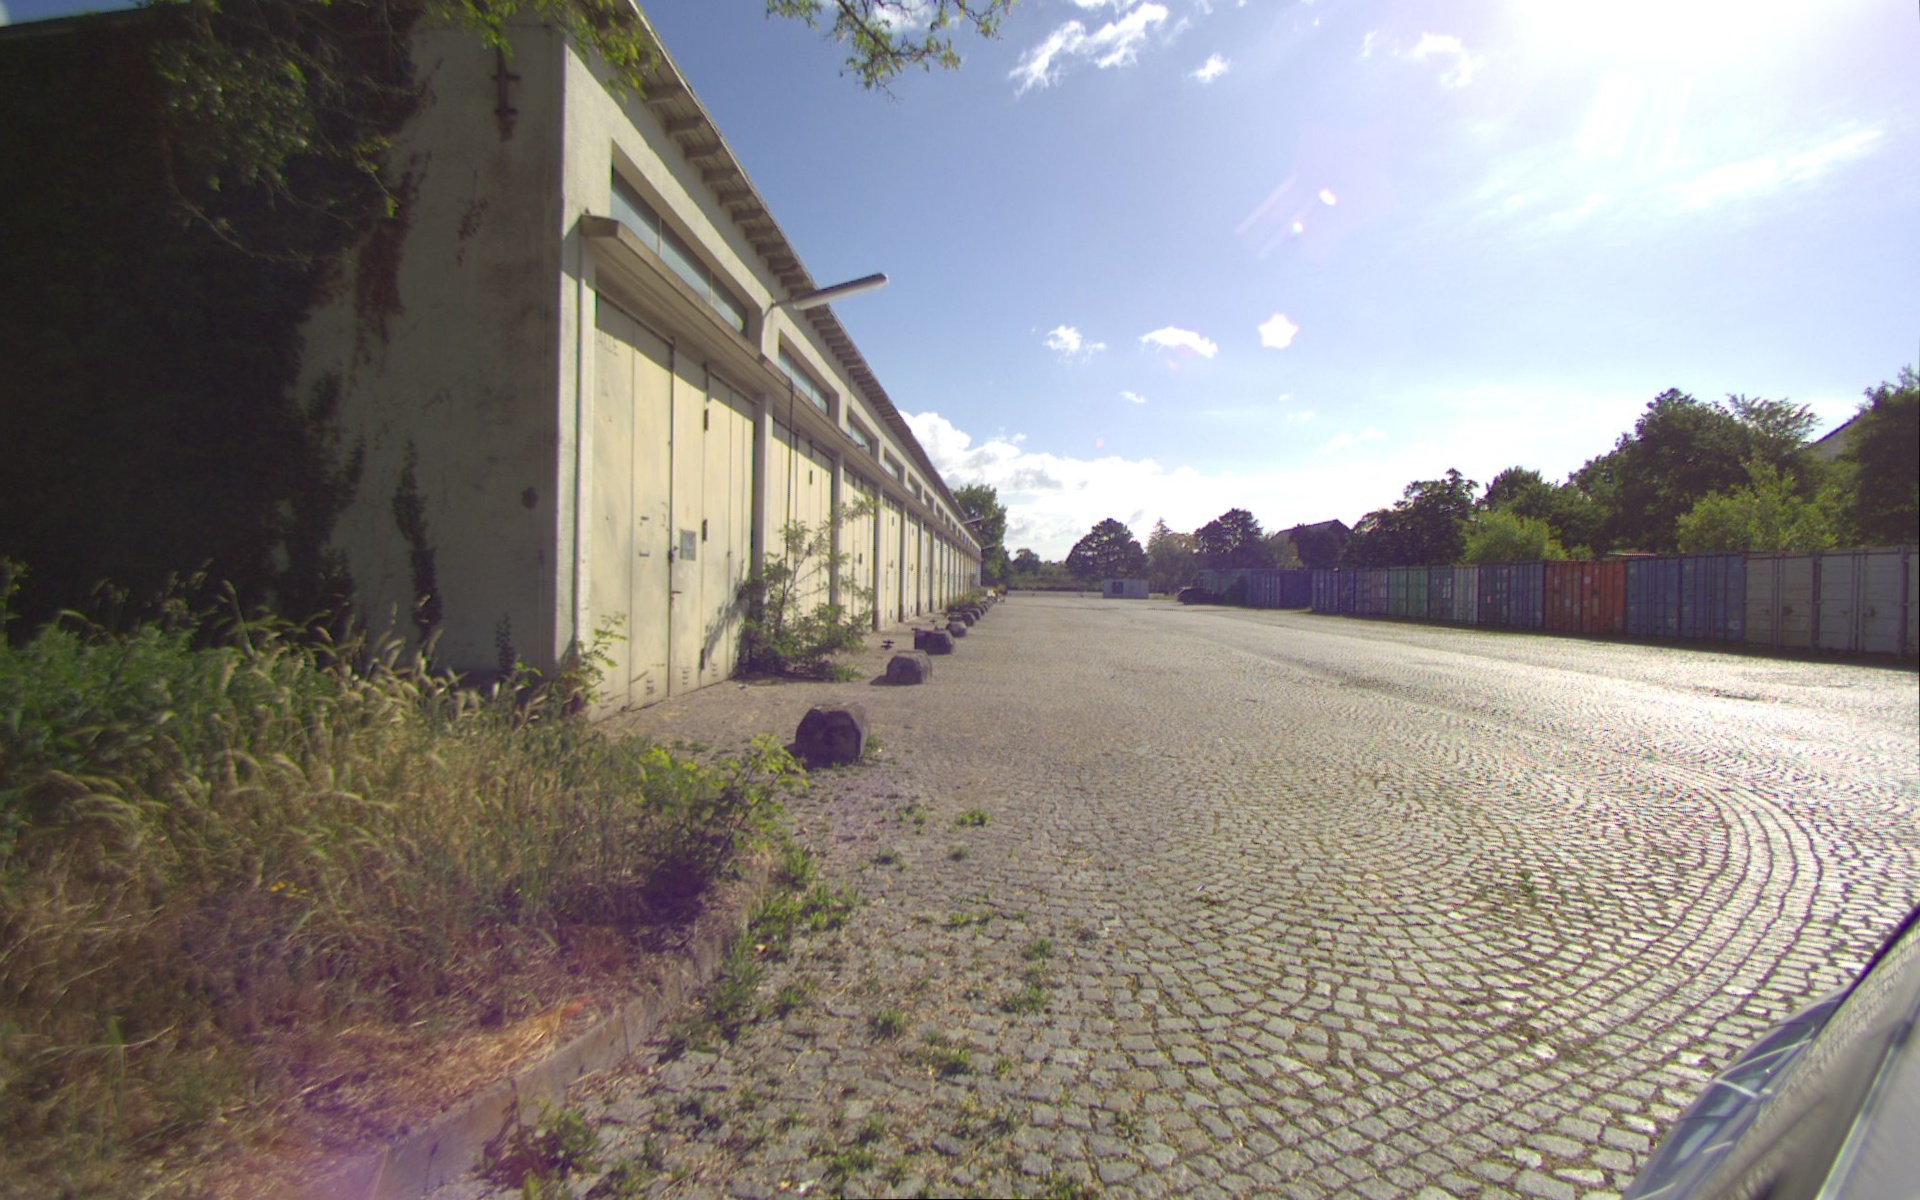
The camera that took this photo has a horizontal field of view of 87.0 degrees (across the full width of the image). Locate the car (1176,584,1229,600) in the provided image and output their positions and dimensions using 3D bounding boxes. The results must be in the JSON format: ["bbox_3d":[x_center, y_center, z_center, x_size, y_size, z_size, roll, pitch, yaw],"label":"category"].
[{"bbox_3d":[20.668,-0.685,86.440,4.038,1.312,2.000,-1,1,1],"label":"car"}]
